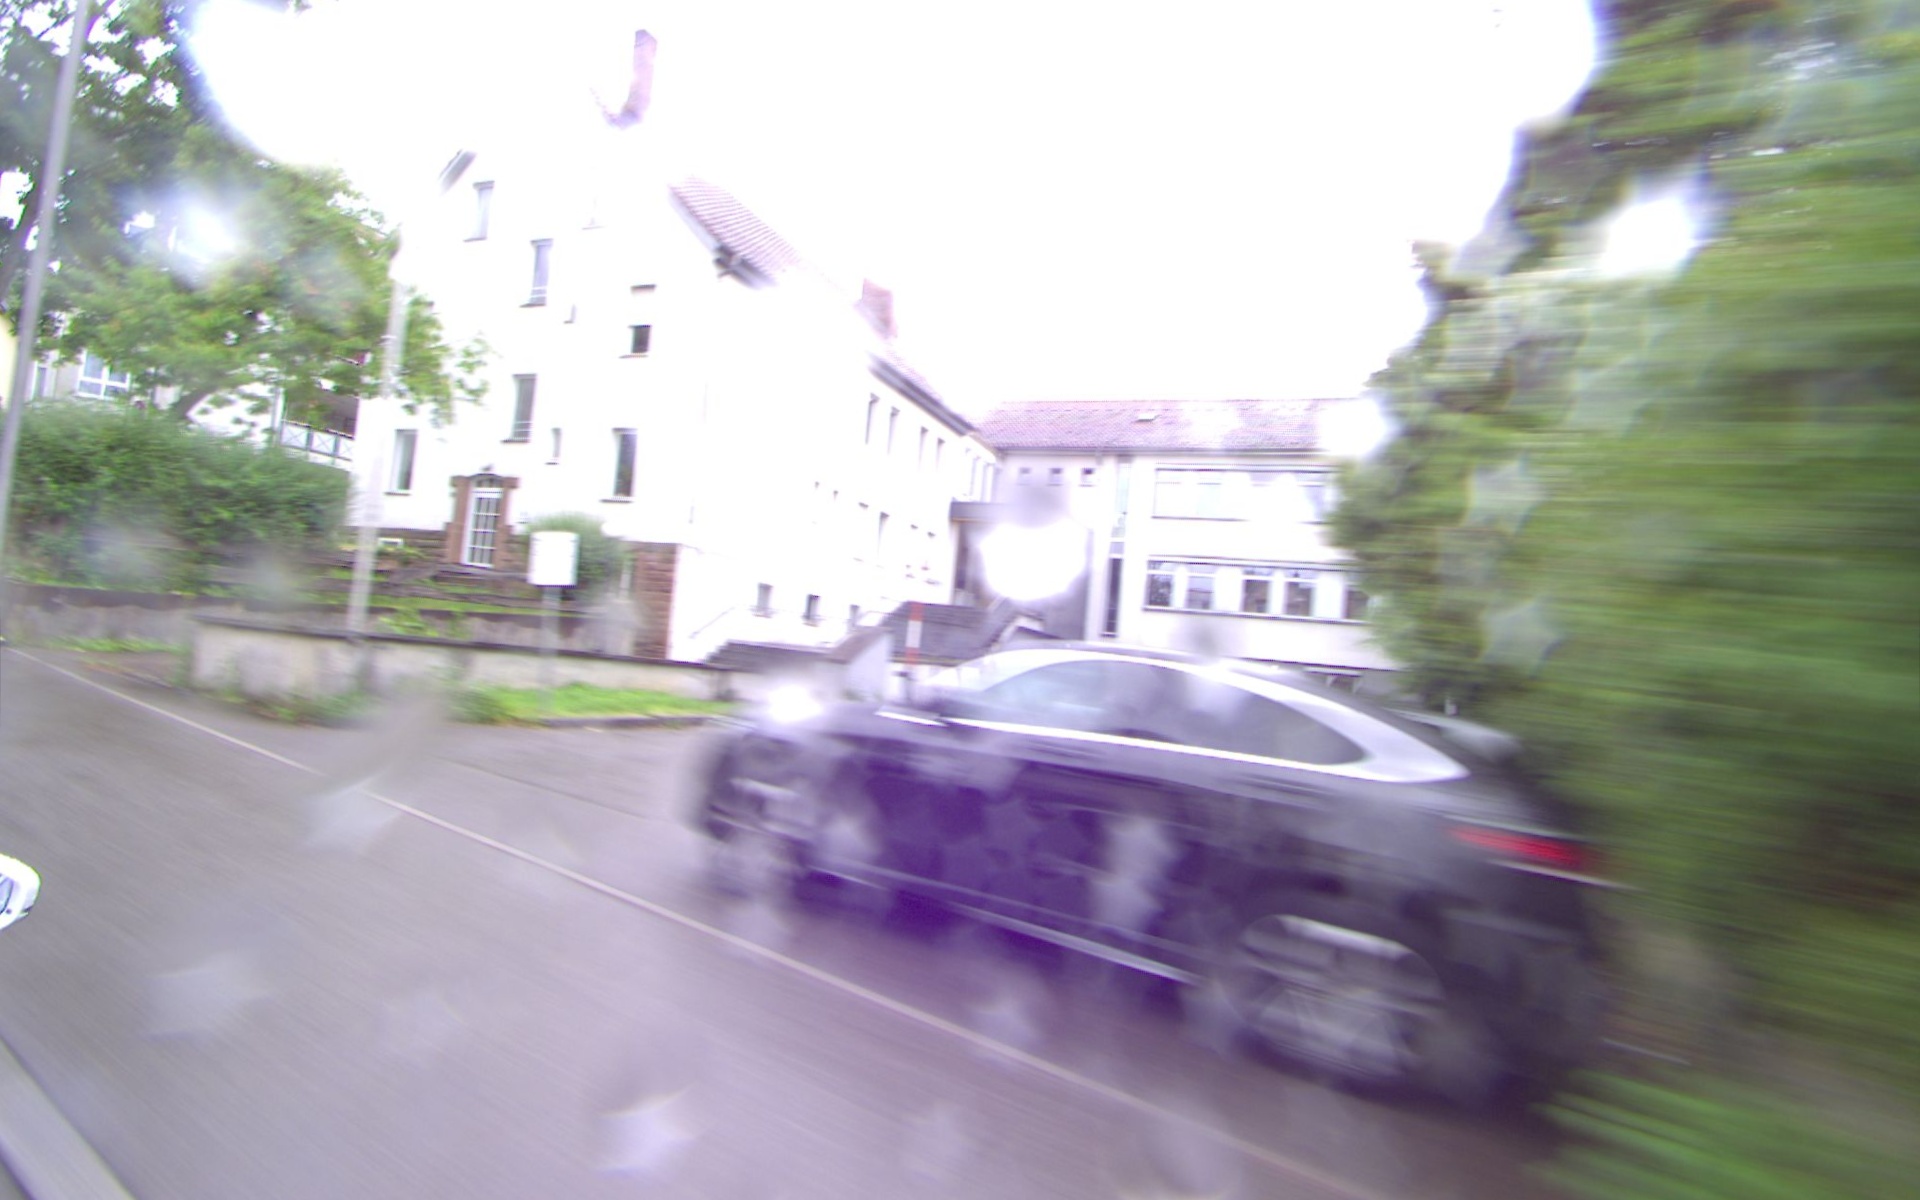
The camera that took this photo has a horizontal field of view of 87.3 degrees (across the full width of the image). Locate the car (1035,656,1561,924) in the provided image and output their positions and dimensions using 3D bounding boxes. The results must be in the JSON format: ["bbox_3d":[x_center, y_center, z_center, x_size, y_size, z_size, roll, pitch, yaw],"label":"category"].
[{"bbox_3d":[2.903,1.534,9.056,3.952,1.451,1.745,7,-2,23],"label":"car"}]

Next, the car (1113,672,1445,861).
[{"bbox_3d":[3.619,1.795,11.530,3.259,1.451,1.613,7,-2,23],"label":"car"}]

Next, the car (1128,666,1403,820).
[{"bbox_3d":[4.232,1.895,13.929,3.261,1.451,1.764,7,-2,27],"label":"car"}]

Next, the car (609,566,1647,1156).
[{"bbox_3d":[0.606,0.962,5.289,4.646,1.586,1.788,7,-5,29],"label":"car"}]
